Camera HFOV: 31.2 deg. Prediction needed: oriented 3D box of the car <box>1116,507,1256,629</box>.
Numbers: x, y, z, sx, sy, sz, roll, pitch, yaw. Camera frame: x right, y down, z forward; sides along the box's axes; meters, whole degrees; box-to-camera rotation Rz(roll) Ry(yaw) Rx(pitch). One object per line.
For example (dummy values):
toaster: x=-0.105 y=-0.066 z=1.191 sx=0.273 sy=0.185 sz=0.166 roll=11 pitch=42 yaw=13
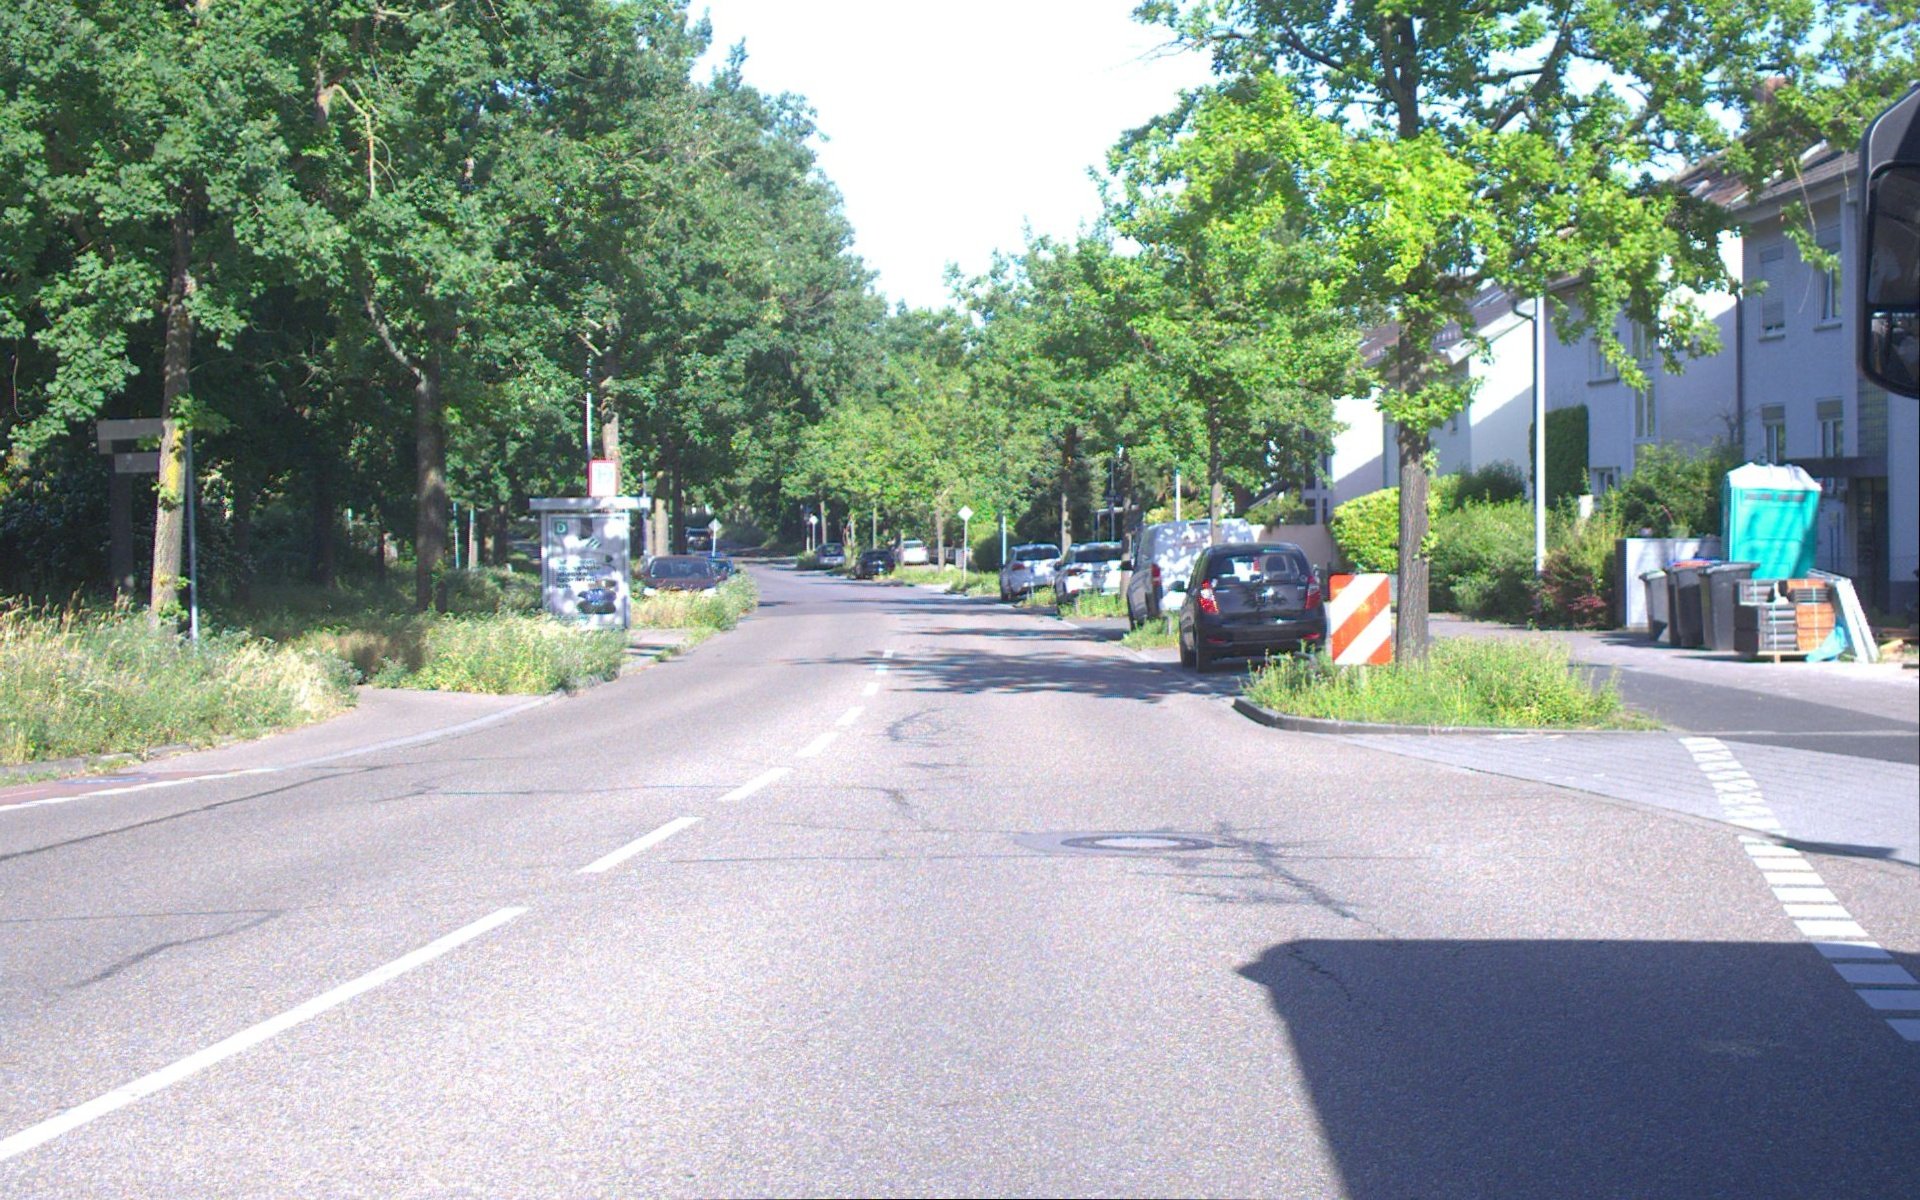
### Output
car: x=3.754 y=-0.555 z=57.799 sx=1.835 sy=1.964 sz=4.759 roll=0 pitch=1 yaw=-2

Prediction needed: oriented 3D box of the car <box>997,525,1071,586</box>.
car: x=2.144 y=-1.315 z=100.678 sx=1.933 sy=1.736 sz=4.000 roll=0 pitch=1 yaw=-2

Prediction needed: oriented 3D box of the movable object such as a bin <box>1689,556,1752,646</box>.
movable object such as a bin: x=9.086 y=0.008 z=41.094 sx=0.603 sy=1.065 sz=0.646 roll=0 pitch=1 yaw=-1

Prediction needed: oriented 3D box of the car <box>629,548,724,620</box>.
car: x=-5.995 y=-0.365 z=73.127 sx=1.935 sy=1.474 sz=4.001 roll=0 pitch=1 yaw=-4

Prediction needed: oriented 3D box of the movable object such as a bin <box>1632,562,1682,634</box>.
movable object such as a bin: x=9.094 y=-0.029 z=44.867 sx=0.529 sy=0.929 sz=0.549 roll=0 pitch=1 yaw=-1

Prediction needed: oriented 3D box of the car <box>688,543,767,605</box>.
car: x=-6.062 y=-0.689 z=89.371 sx=1.993 sy=1.551 sz=4.001 roll=1 pitch=1 yaw=-4

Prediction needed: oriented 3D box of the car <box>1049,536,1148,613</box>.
car: x=3.128 y=-0.603 z=78.235 sx=1.935 sy=1.698 sz=4.000 roll=0 pitch=1 yaw=-2

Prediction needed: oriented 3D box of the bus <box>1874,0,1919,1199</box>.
bus: x=3.160 y=-0.226 z=1.586 sx=2.757 sy=3.446 sz=12.397 roll=-1 pitch=0 yaw=3

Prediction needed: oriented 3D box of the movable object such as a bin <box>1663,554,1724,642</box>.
movable object such as a bin: x=9.004 y=-0.026 z=42.202 sx=0.603 sy=1.065 sz=0.646 roll=0 pitch=1 yaw=-1

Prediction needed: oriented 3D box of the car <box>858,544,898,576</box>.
car: x=-4.057 y=-1.980 z=170.003 sx=1.933 sy=1.537 sz=4.000 roll=0 pitch=1 yaw=-2

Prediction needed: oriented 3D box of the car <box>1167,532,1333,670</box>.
car: x=3.539 y=-0.024 z=42.547 sx=1.672 sy=1.573 sz=3.752 roll=-2 pitch=1 yaw=0

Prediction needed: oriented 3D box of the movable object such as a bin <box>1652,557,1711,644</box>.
movable object such as a bin: x=9.030 y=0.003 z=43.043 sx=0.603 sy=1.065 sz=0.567 roll=0 pitch=1 yaw=-1

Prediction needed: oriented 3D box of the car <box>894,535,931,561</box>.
car: x=-2.714 y=-2.938 z=195.825 sx=1.933 sy=1.449 sz=4.001 roll=0 pitch=1 yaw=-3

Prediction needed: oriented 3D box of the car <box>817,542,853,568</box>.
car: x=-7.212 y=-2.597 z=197.797 sx=1.933 sy=1.449 sz=4.001 roll=0 pitch=1 yaw=-3
